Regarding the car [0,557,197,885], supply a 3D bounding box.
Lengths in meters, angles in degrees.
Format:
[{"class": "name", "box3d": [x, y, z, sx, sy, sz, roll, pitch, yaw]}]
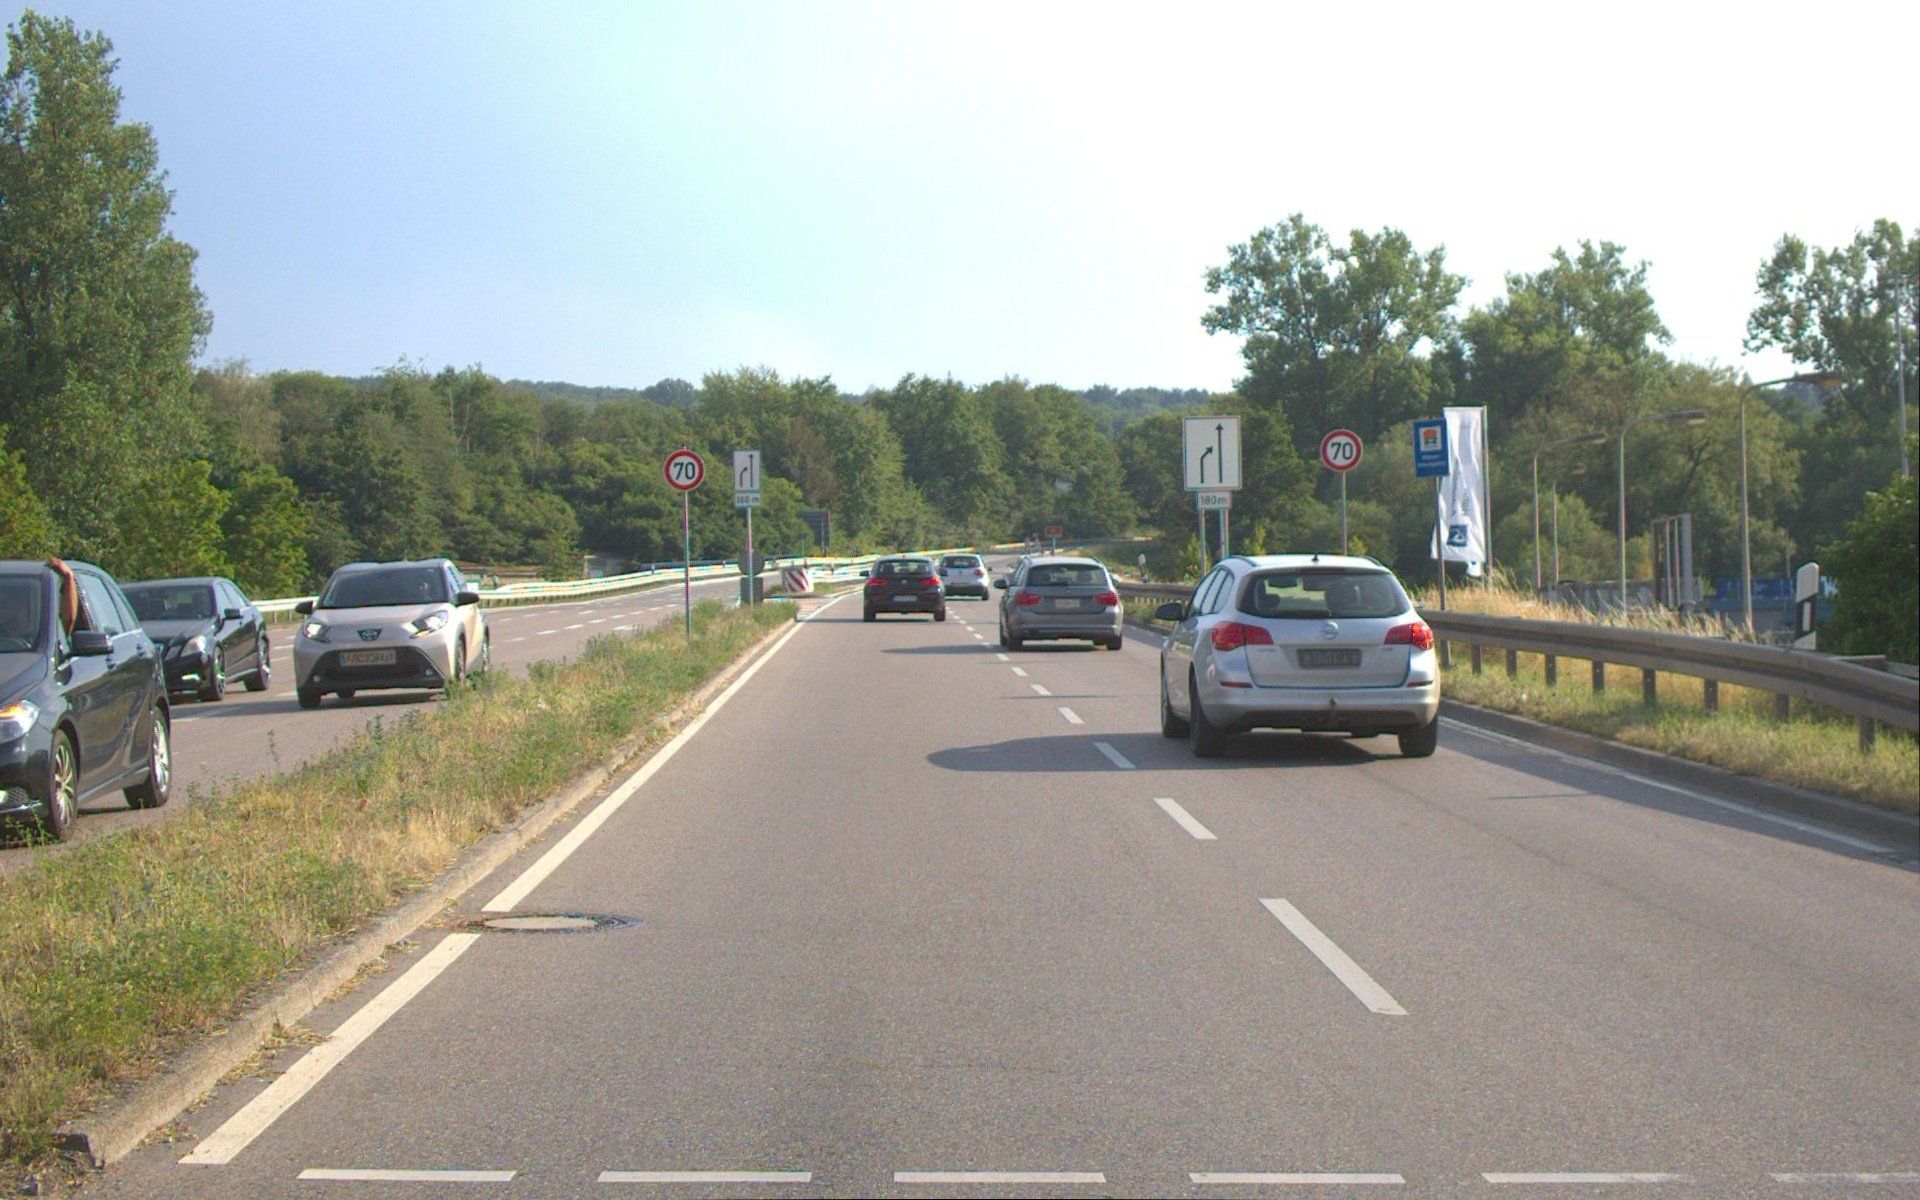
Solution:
[{"class": "car", "box3d": [-5.670, 0.604, 19.242, 1.780, 1.532, 4.572, -2, 2, -1]}]

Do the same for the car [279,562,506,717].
[{"class": "car", "box3d": [-6.079, 0.412, 37.236, 1.780, 1.515, 4.000, -3, 0, -1]}]

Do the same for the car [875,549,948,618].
[{"class": "car", "box3d": [-1.044, -0.344, 74.832, 1.492, 1.471, 3.358, 0, 0, 1]}]

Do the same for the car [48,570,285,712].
[{"class": "car", "box3d": [-9.357, 0.441, 40.903, 1.715, 1.459, 4.727, -3, 1, -1]}]

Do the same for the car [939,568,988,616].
[{"class": "car", "box3d": [0.125, -0.229, 107.584, 1.492, 1.471, 3.358, 0, 0, 1]}]

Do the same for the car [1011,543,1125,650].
[{"class": "car", "box3d": [1.639, -0.039, 53.297, 1.667, 1.568, 4.000, 1, 0, 1]}]

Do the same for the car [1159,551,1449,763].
[{"class": "car", "box3d": [2.539, 0.409, 26.223, 1.809, 1.481, 4.000, 0, 0, 0]}]
